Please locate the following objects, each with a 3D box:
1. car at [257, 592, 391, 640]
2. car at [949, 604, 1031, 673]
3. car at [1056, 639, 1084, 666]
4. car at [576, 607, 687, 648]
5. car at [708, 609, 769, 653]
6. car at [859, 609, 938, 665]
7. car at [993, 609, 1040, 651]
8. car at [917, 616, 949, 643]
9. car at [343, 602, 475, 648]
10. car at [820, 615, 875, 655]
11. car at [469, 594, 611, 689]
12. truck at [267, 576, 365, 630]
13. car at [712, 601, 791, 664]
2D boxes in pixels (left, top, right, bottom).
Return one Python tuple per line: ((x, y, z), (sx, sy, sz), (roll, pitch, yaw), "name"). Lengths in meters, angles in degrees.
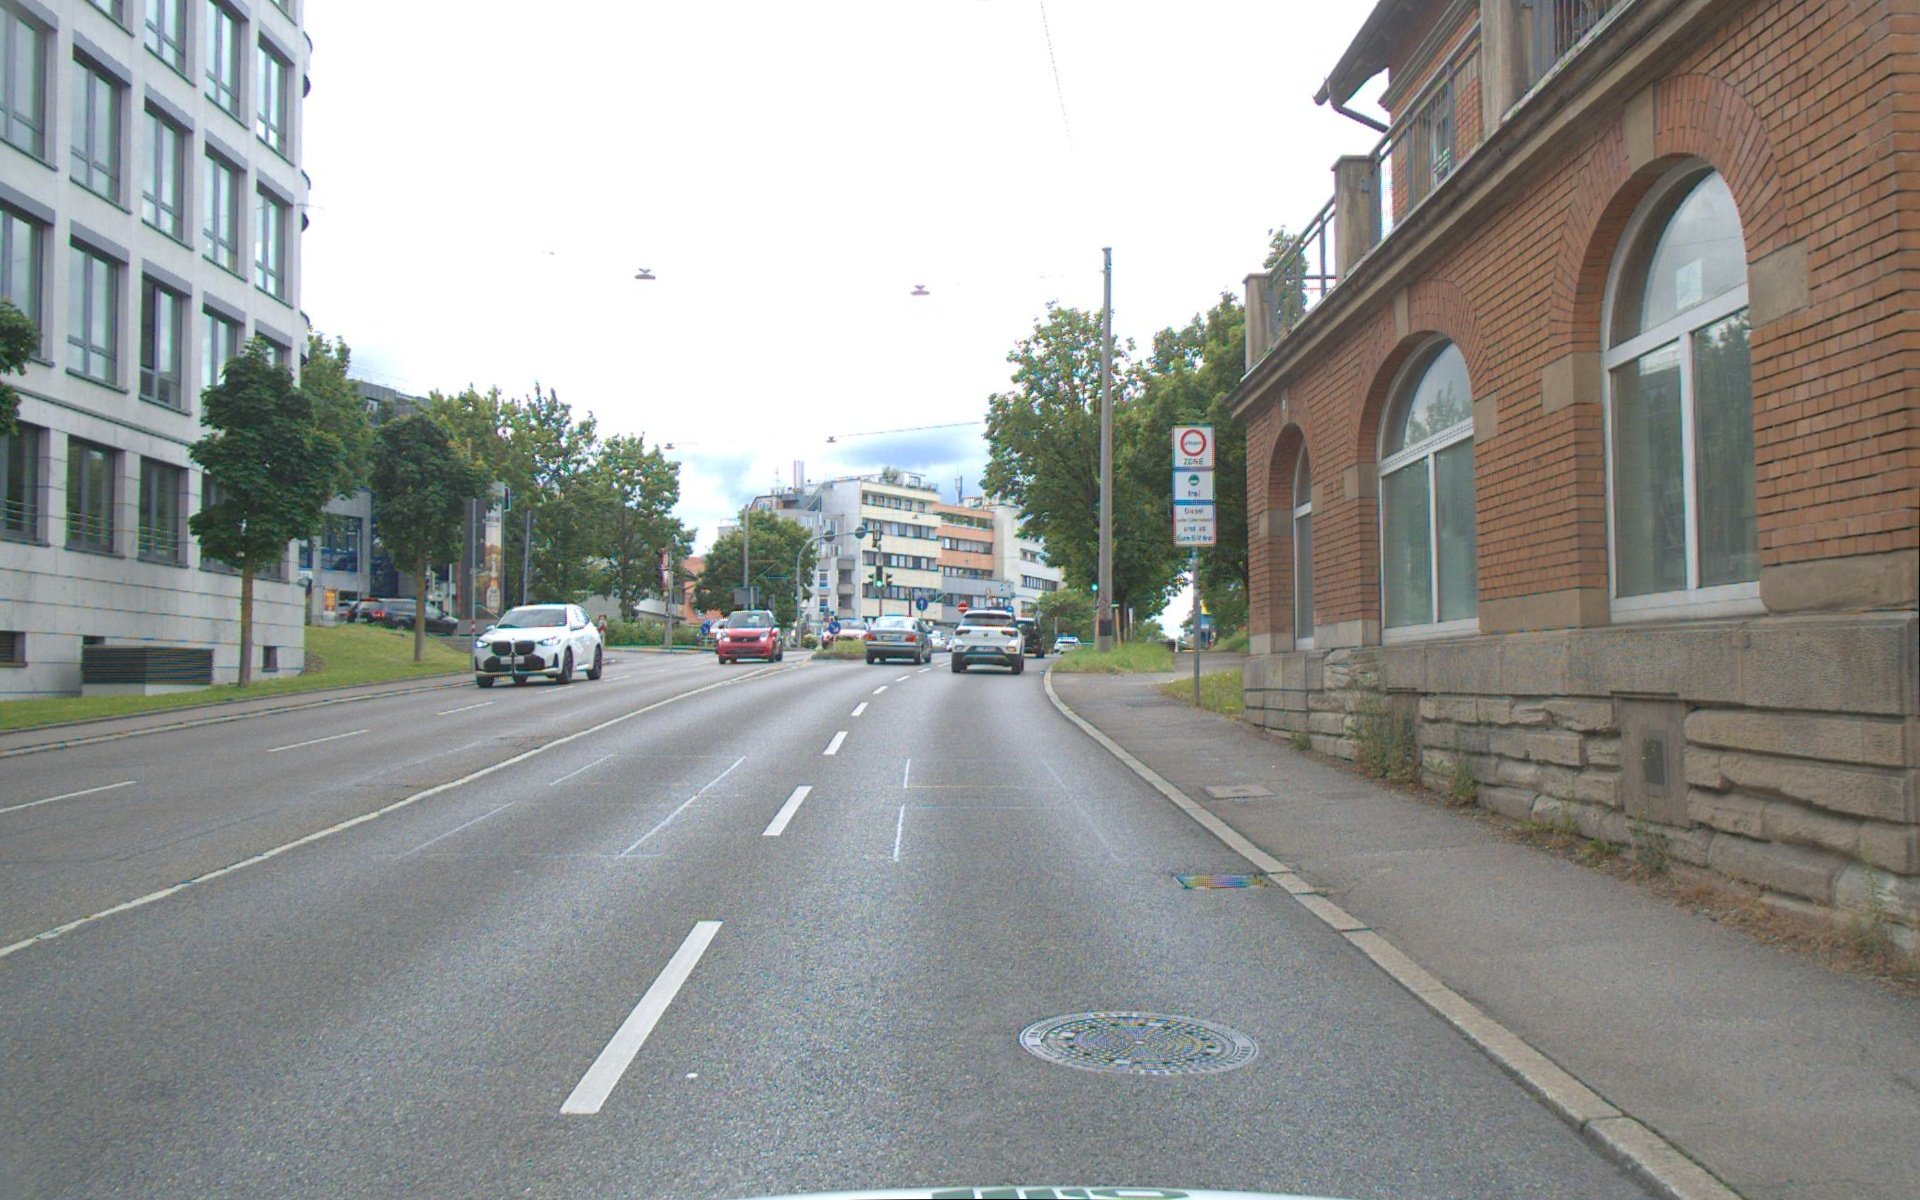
((-22.346, 0.589, 58.308), (1.741, 1.489, 4.437), (2, -1, 24), "car")
((0.824, 0.958, 42.572), (1.664, 1.575, 3.739), (3, 0, 7), "car")
((7.133, 3.391, 107.539), (1.733, 1.598, 4.287), (0, 0, 3), "car")
((-12.726, 1.069, 64.270), (1.750, 1.571, 3.974), (0, -1, 43), "car")
((-8.374, 1.140, 62.879), (1.711, 1.521, 4.207), (-2, 0, 0), "car")
((-1.770, 1.054, 48.875), (1.663, 1.542, 3.739), (0, 1, 9), "car")
((2.146, 1.173, 63.575), (1.665, 1.543, 3.493), (0, -2, 0), "car")
((-1.598, 1.740, 99.359), (1.740, 1.592, 4.001), (0, -1, 2), "car")
((-18.947, 0.844, 57.085), (1.741, 1.488, 4.438), (2, 0, 24), "car")
((-4.872, 1.493, 71.941), (1.733, 1.598, 4.287), (-2, 0, 4), "car")
((-8.924, 0.840, 35.511), (1.832, 1.820, 4.653), (-2, 0, -1), "car")
((-30.094, 0.143, 77.372), (1.954, 2.428, 3.997), (2, 0, 25), "truck")
((-6.281, 0.954, 50.253), (1.832, 1.731, 4.428), (-2, 0, -1), "car")
